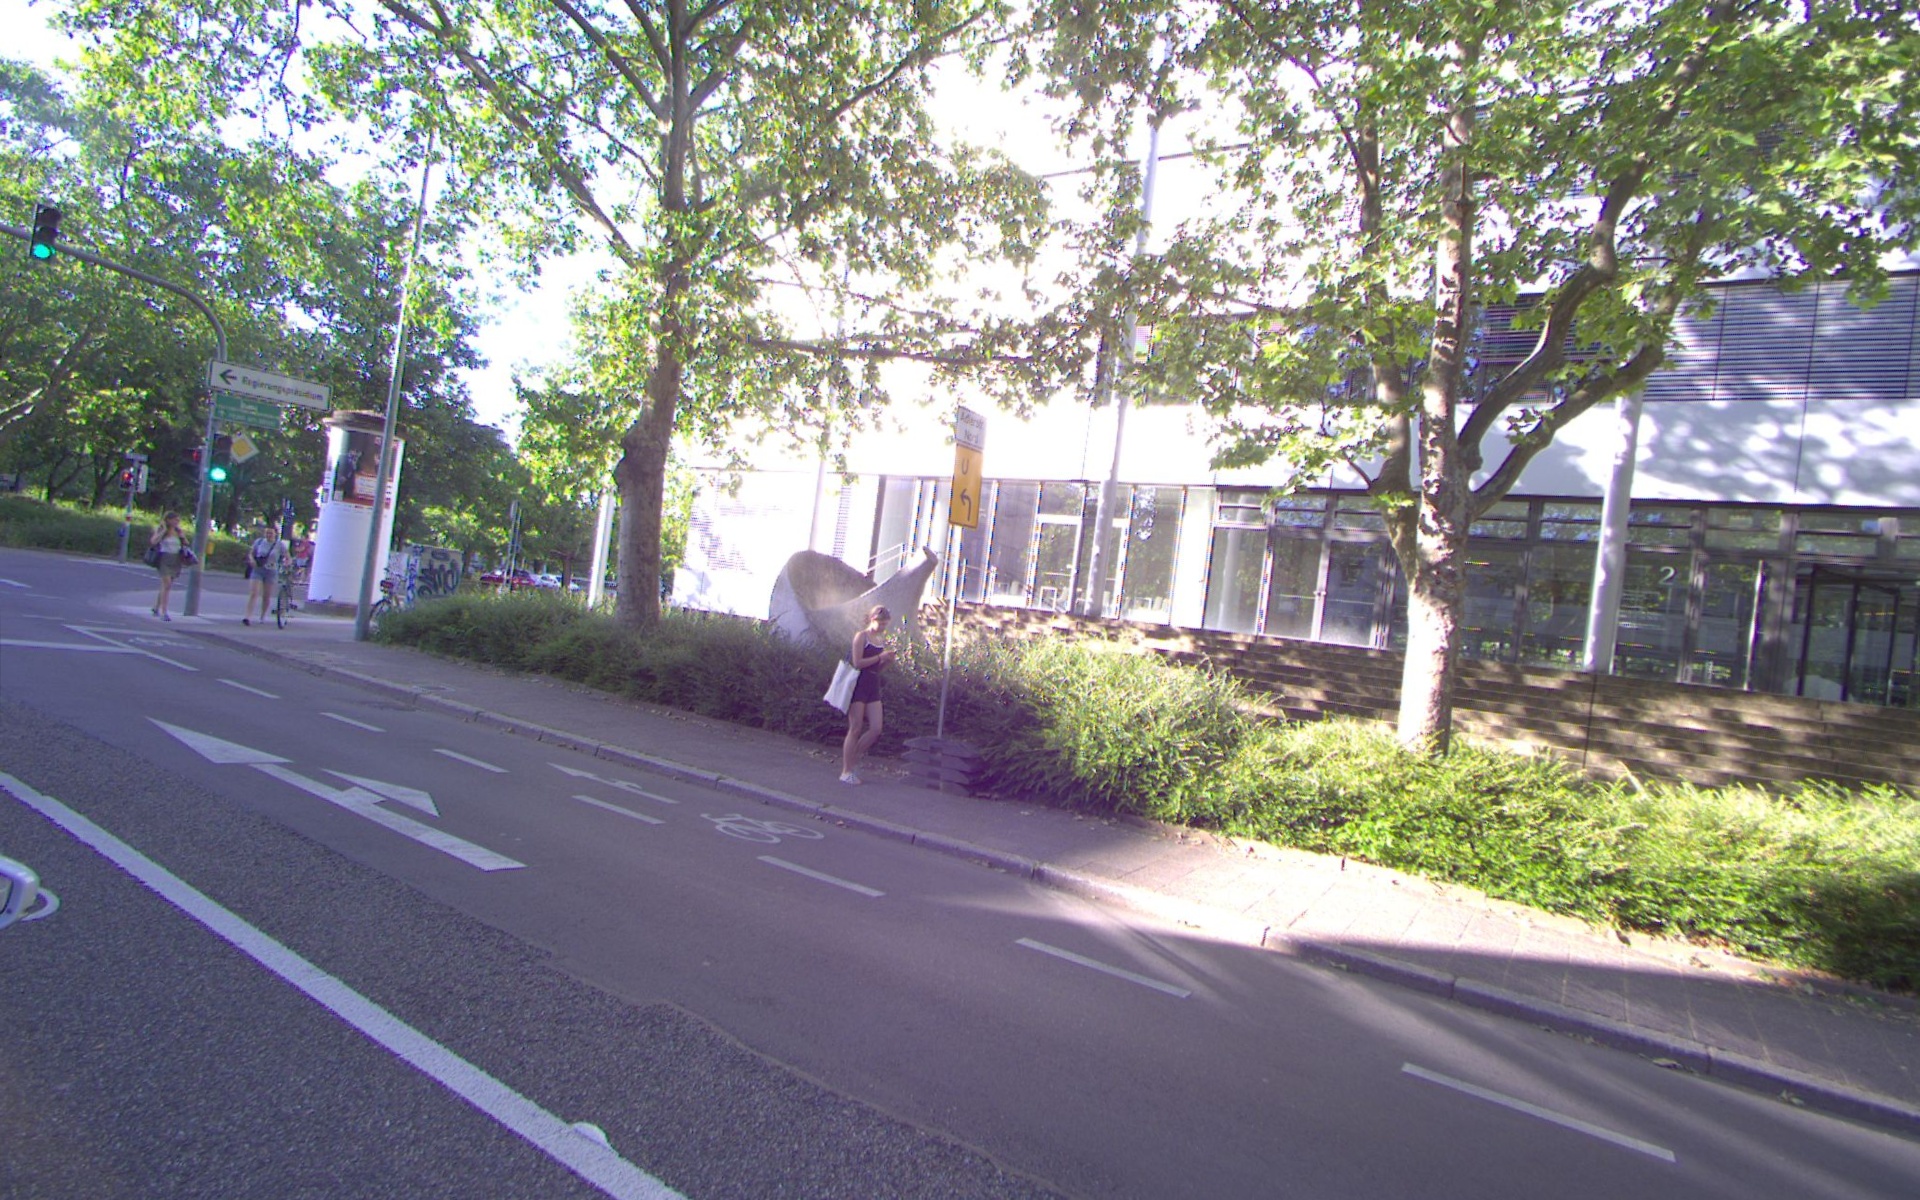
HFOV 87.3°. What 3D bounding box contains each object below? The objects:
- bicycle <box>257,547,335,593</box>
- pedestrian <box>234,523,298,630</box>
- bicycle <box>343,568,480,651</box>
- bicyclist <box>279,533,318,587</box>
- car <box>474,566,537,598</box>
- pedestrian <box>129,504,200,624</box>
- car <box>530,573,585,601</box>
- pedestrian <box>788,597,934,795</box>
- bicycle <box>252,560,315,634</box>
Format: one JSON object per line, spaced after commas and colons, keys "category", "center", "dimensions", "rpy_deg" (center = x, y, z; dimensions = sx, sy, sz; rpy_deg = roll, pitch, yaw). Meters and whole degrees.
{"category": "bicycle", "center": [-22.542, -0.999, 34.216], "dimensions": [0.589, 1.234, 2.035], "rpy_deg": [7, -3, 32]}
{"category": "pedestrian", "center": [-11.864, -0.408, 17.187], "dimensions": [0.680, 1.718, 0.960], "rpy_deg": [5, 0, -40]}
{"category": "bicycle", "center": [-9.512, 0.192, 17.522], "dimensions": [0.519, 1.203, 1.980], "rpy_deg": [7, -3, 31]}
{"category": "bicyclist", "center": [-22.484, -1.352, 34.173], "dimensions": [0.664, 1.717, 0.711], "rpy_deg": [7, -2, 33]}
{"category": "car", "center": [-28.360, -1.124, 62.804], "dimensions": [3.733, 1.499, 1.633], "rpy_deg": [6, -2, 32]}
{"category": "pedestrian", "center": [-12.955, -0.582, 16.378], "dimensions": [0.729, 1.830, 0.899], "rpy_deg": [7, -1, -40]}
{"category": "car", "center": [-28.809, -0.921, 72.004], "dimensions": [3.733, 1.484, 1.575], "rpy_deg": [6, -2, 32]}
{"category": "pedestrian", "center": [-0.909, 0.856, 9.295], "dimensions": [0.893, 1.651, 0.798], "rpy_deg": [6, 1, 34]}
{"category": "bicycle", "center": [-11.576, -0.063, 17.195], "dimensions": [0.523, 1.112, 1.721], "rpy_deg": [9, -2, -42]}
